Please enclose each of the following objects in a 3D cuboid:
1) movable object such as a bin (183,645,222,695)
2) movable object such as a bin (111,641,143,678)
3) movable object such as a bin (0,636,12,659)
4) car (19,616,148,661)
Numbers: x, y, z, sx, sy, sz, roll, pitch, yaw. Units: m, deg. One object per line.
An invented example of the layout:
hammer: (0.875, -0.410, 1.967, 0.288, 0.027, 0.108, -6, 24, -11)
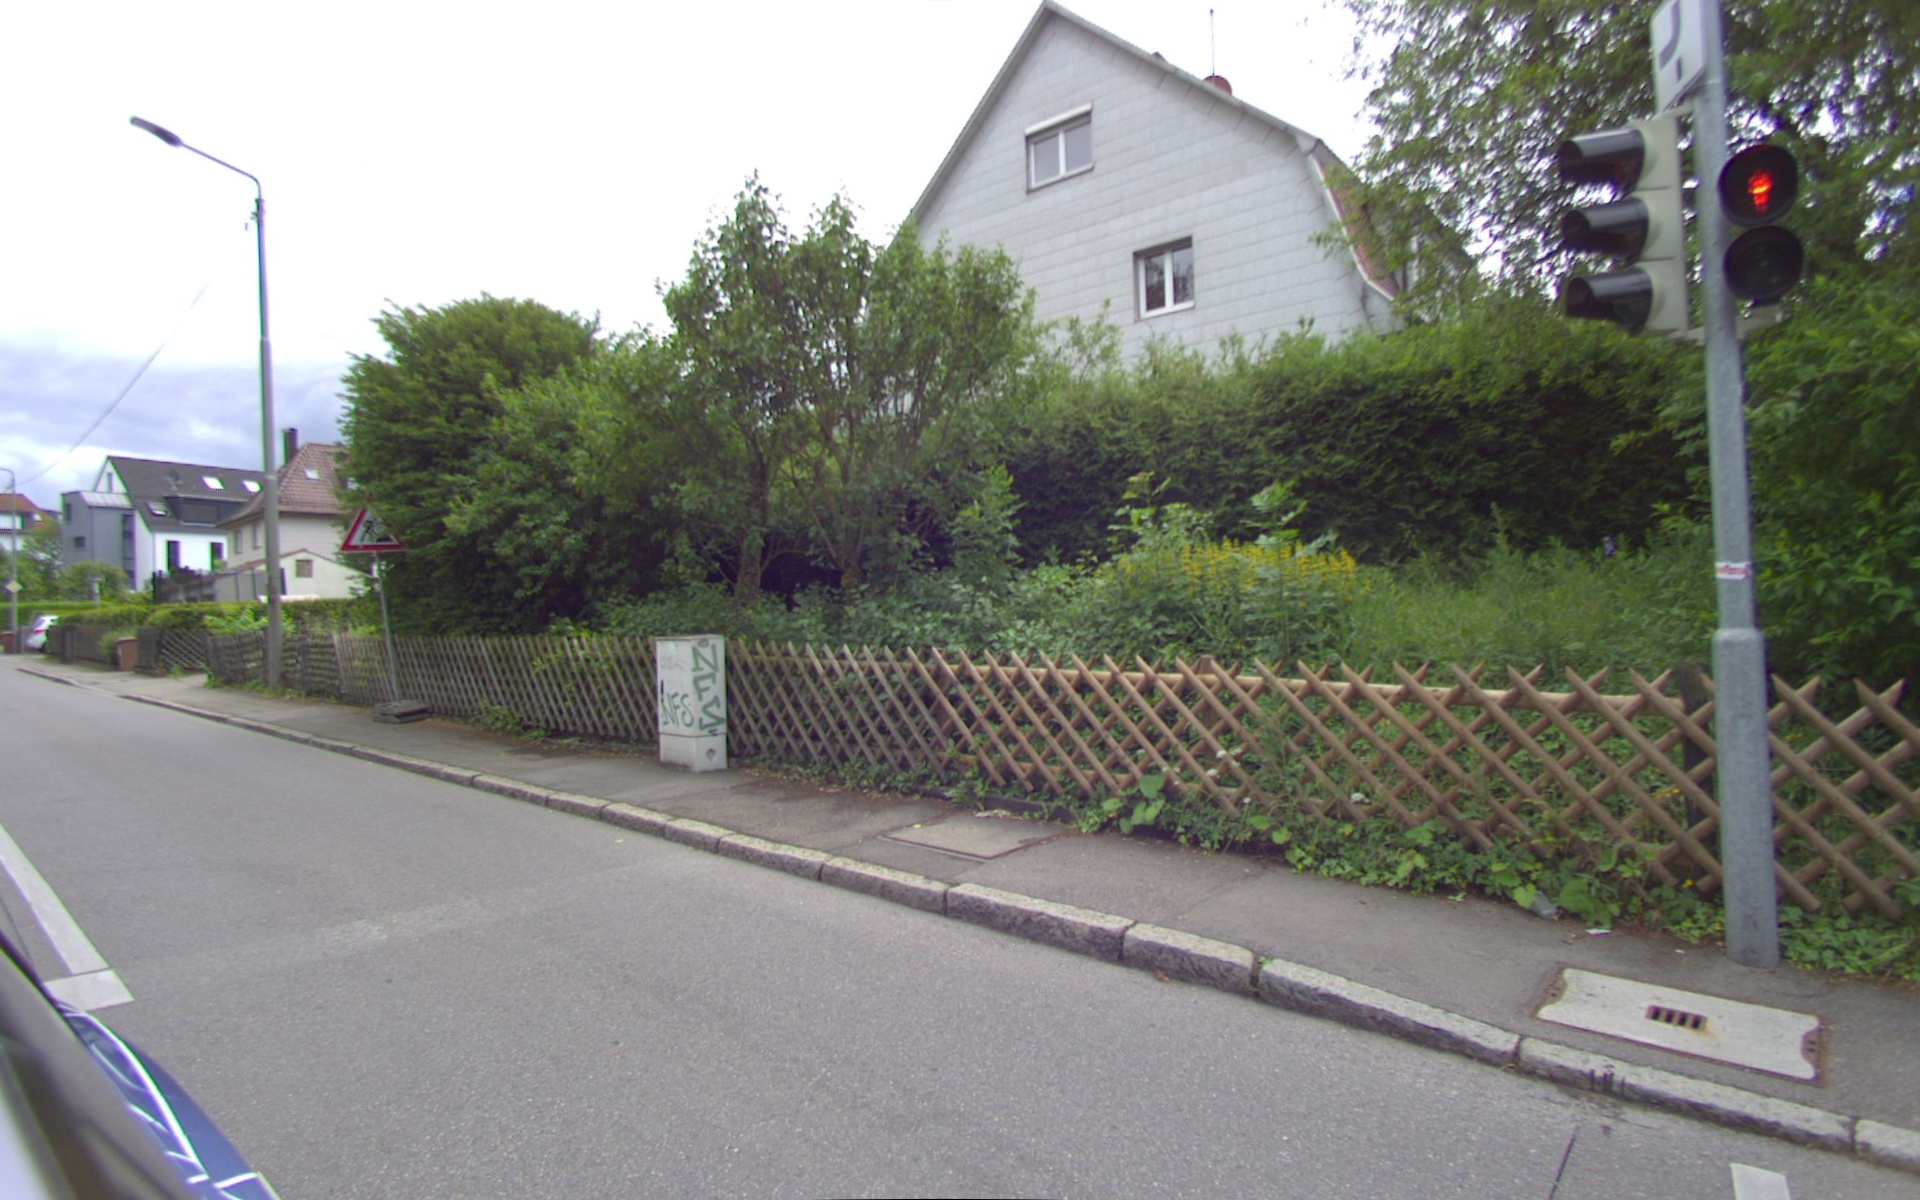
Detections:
movable object such as a bin: (-15.365, 1.409, 20.520, 0.538, 0.945, 0.544, -2, 0, 43)
movable object such as a bin: (-22.386, 1.600, 27.195, 0.625, 0.920, 0.561, -3, 1, -38)
movable object such as a bin: (-41.252, 2.040, 43.474, 0.571, 0.961, 0.681, -1, 0, 40)
car: (-37.574, 1.624, 43.467, 1.718, 1.605, 3.946, -2, 2, 41)
